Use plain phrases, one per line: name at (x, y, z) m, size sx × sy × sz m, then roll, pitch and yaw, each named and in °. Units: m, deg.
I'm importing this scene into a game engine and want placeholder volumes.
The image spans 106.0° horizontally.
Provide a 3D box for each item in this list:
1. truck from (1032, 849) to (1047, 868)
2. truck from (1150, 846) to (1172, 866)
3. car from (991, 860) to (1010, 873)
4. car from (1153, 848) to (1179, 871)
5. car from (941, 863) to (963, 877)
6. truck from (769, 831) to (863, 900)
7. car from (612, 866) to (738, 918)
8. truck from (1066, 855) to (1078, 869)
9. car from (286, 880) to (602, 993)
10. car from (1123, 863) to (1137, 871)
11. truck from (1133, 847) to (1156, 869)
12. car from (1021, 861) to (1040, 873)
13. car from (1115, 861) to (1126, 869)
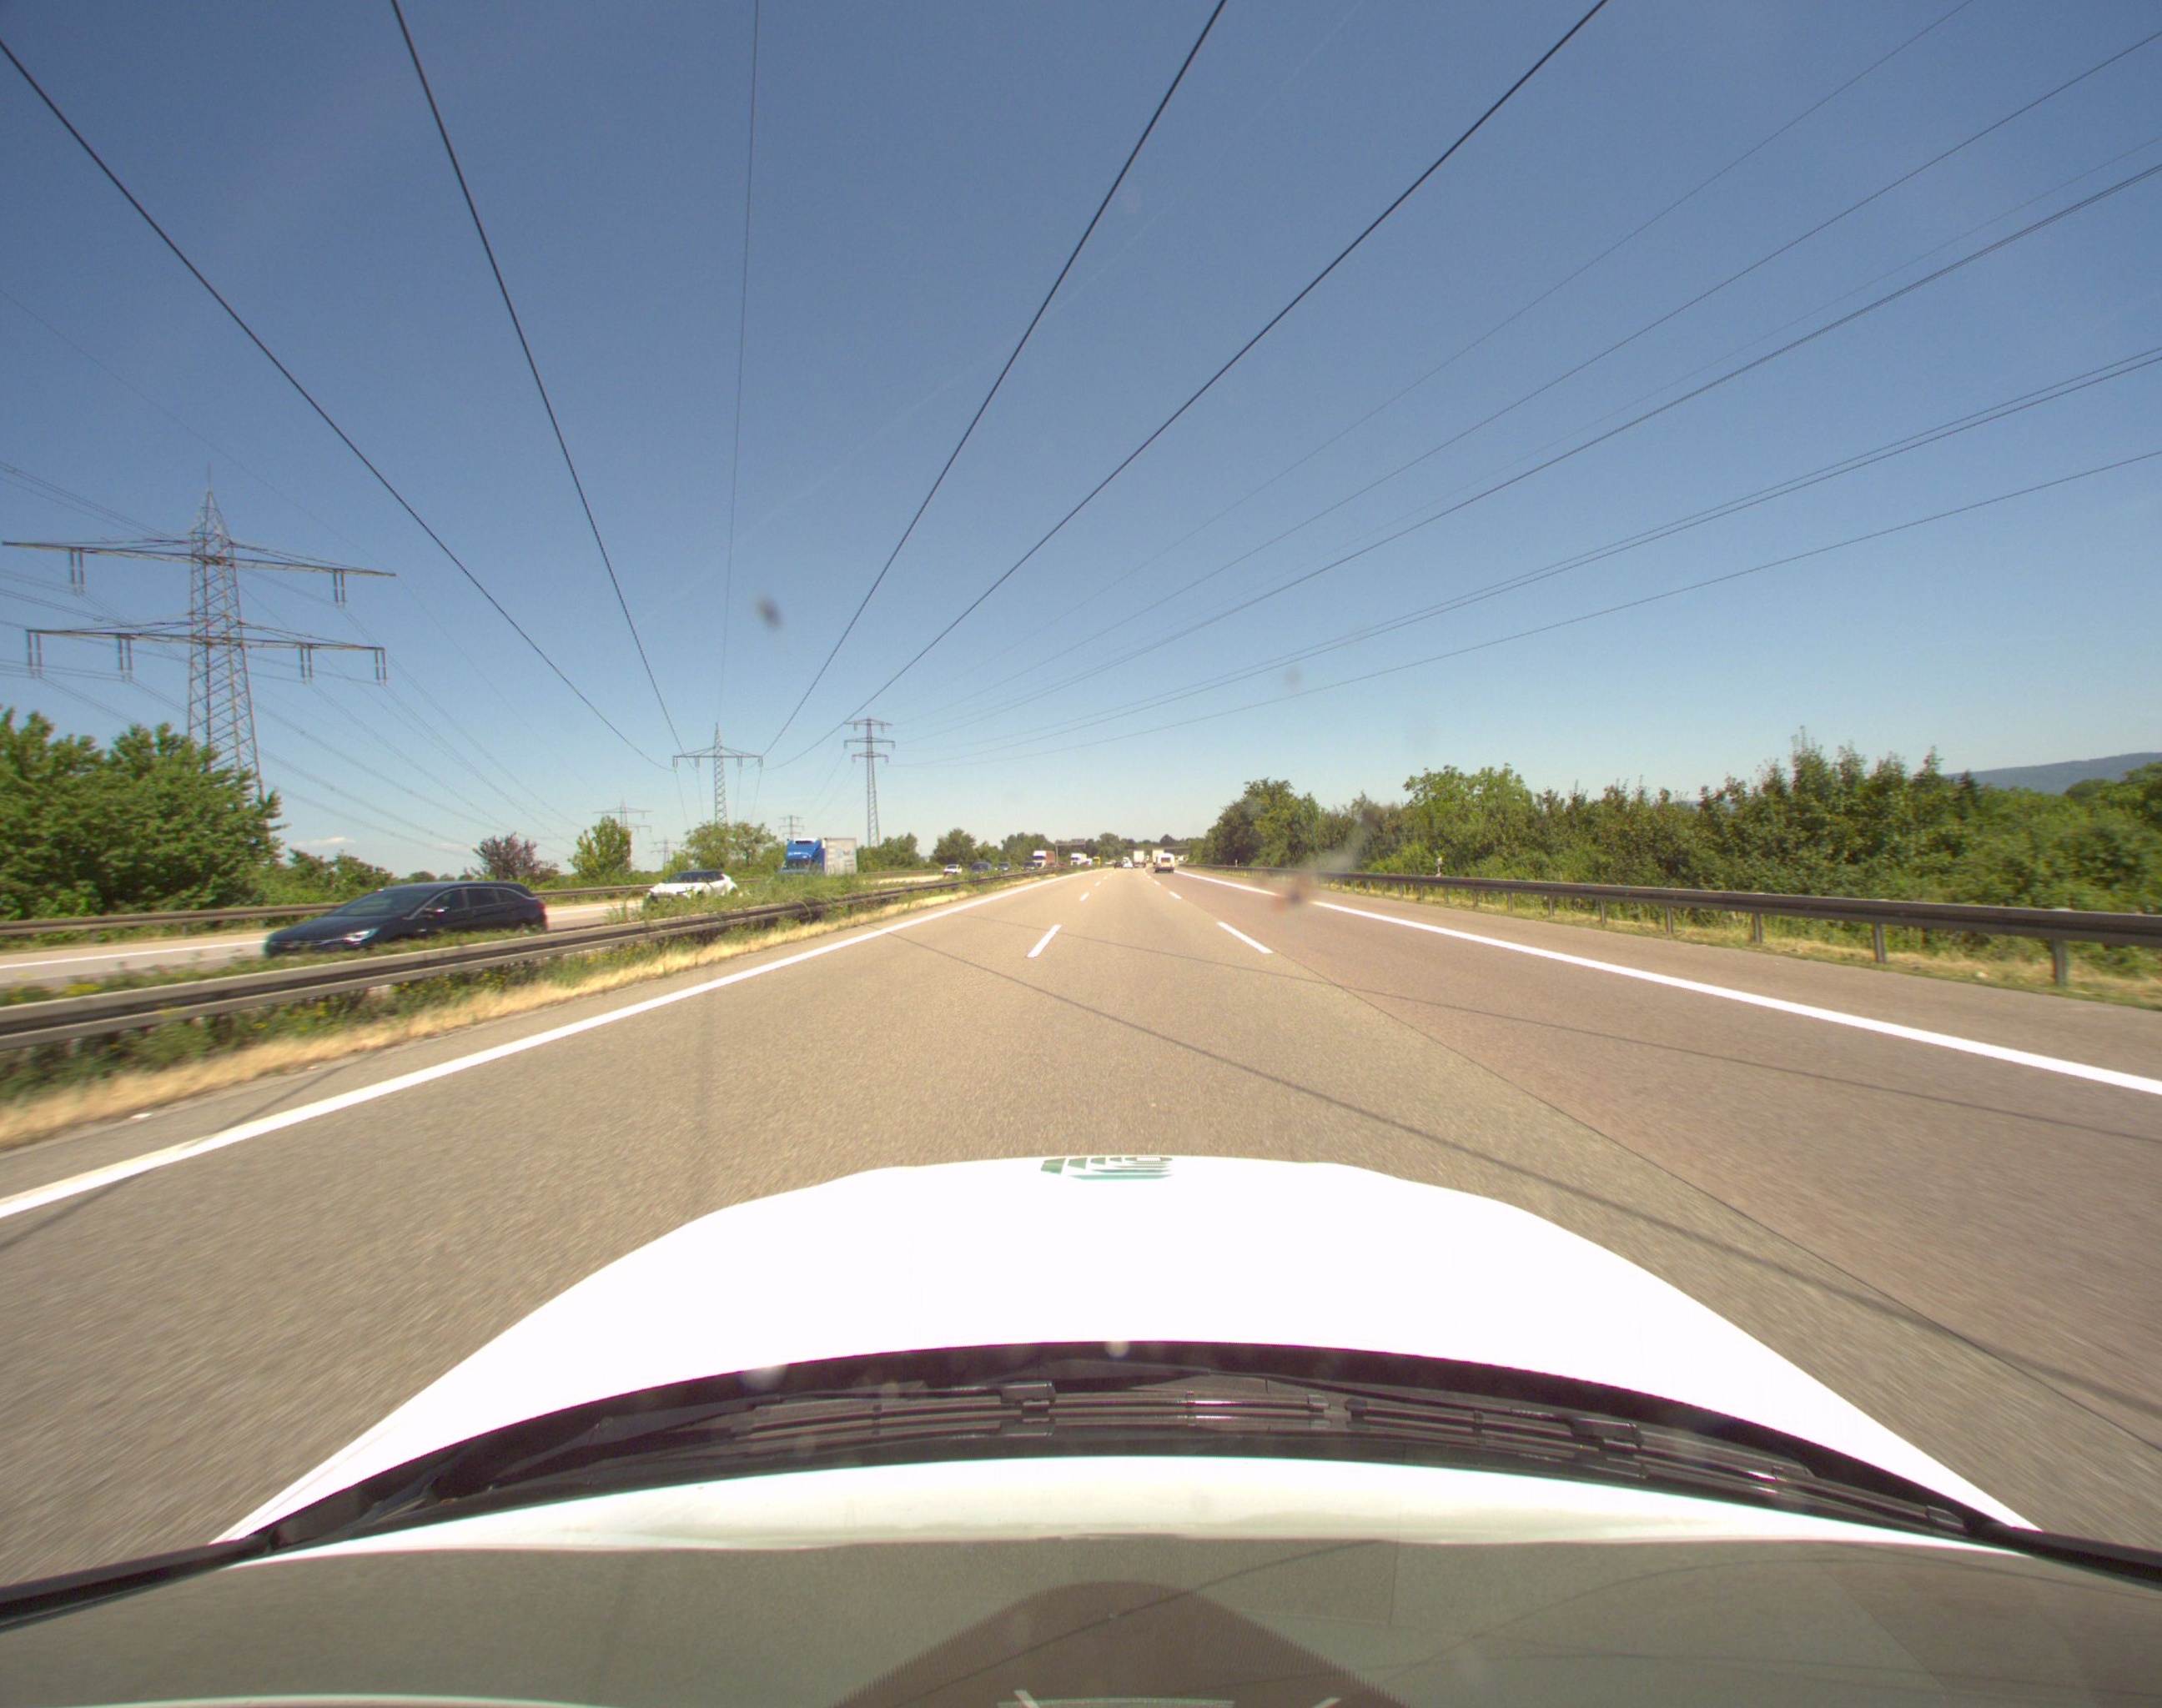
truck at (-8.909, 1.019, 174.878) m, size 2.470 × 4.019 × 4.608 m, roll -1°, pitch 0°, yaw 5°
truck at (18.684, 0.358, 188.308) m, size 3.160 × 4.304 × 16.071 m, roll -1°, pitch 0°, yaw 12°
car at (-10.883, 1.697, 110.509) m, size 1.985 × 1.617 × 4.414 m, roll -1°, pitch 0°, yaw 3°
car at (9.594, 0.587, 92.072) m, size 2.433 × 2.321 × 5.323 m, roll -2°, pitch 1°, yaw 1°
car at (-15.080, 1.864, 95.548) m, size 1.659 × 1.532 × 4.282 m, roll -1°, pitch -1°, yaw 3°
truck at (-17.227, 0.659, 53.725) m, size 2.444 × 3.975 × 9.677 m, roll -4°, pitch 0°, yaw 2°
car at (-14.991, 1.349, 30.456) m, size 1.985 × 1.617 × 5.020 m, roll -1°, pitch 0°, yaw 3°
truck at (-2.625, 2.283, 240.203) m, size 2.818 × 4.081 × 5.172 m, roll -1°, pitch -1°, yaw 4°
car at (-11.859, 1.429, 15.780) m, size 1.985 × 1.617 × 5.020 m, roll -1°, pitch 0°, yaw 3°
car at (9.549, 2.447, 157.223) m, size 1.814 × 1.547 × 4.337 m, roll 0°, pitch 0°, yaw 16°
truck at (15.501, 0.792, 197.589) m, size 3.642 × 5.018 × 16.069 m, roll -1°, pitch 0°, yaw 12°
car at (-6.623, 1.743, 106.506) m, size 1.985 × 1.435 × 4.414 m, roll -1°, pitch 0°, yaw 3°
car at (8.593, 2.374, 176.590) m, size 1.816 × 1.547 × 4.333 m, roll 0°, pitch 0°, yaw 11°
